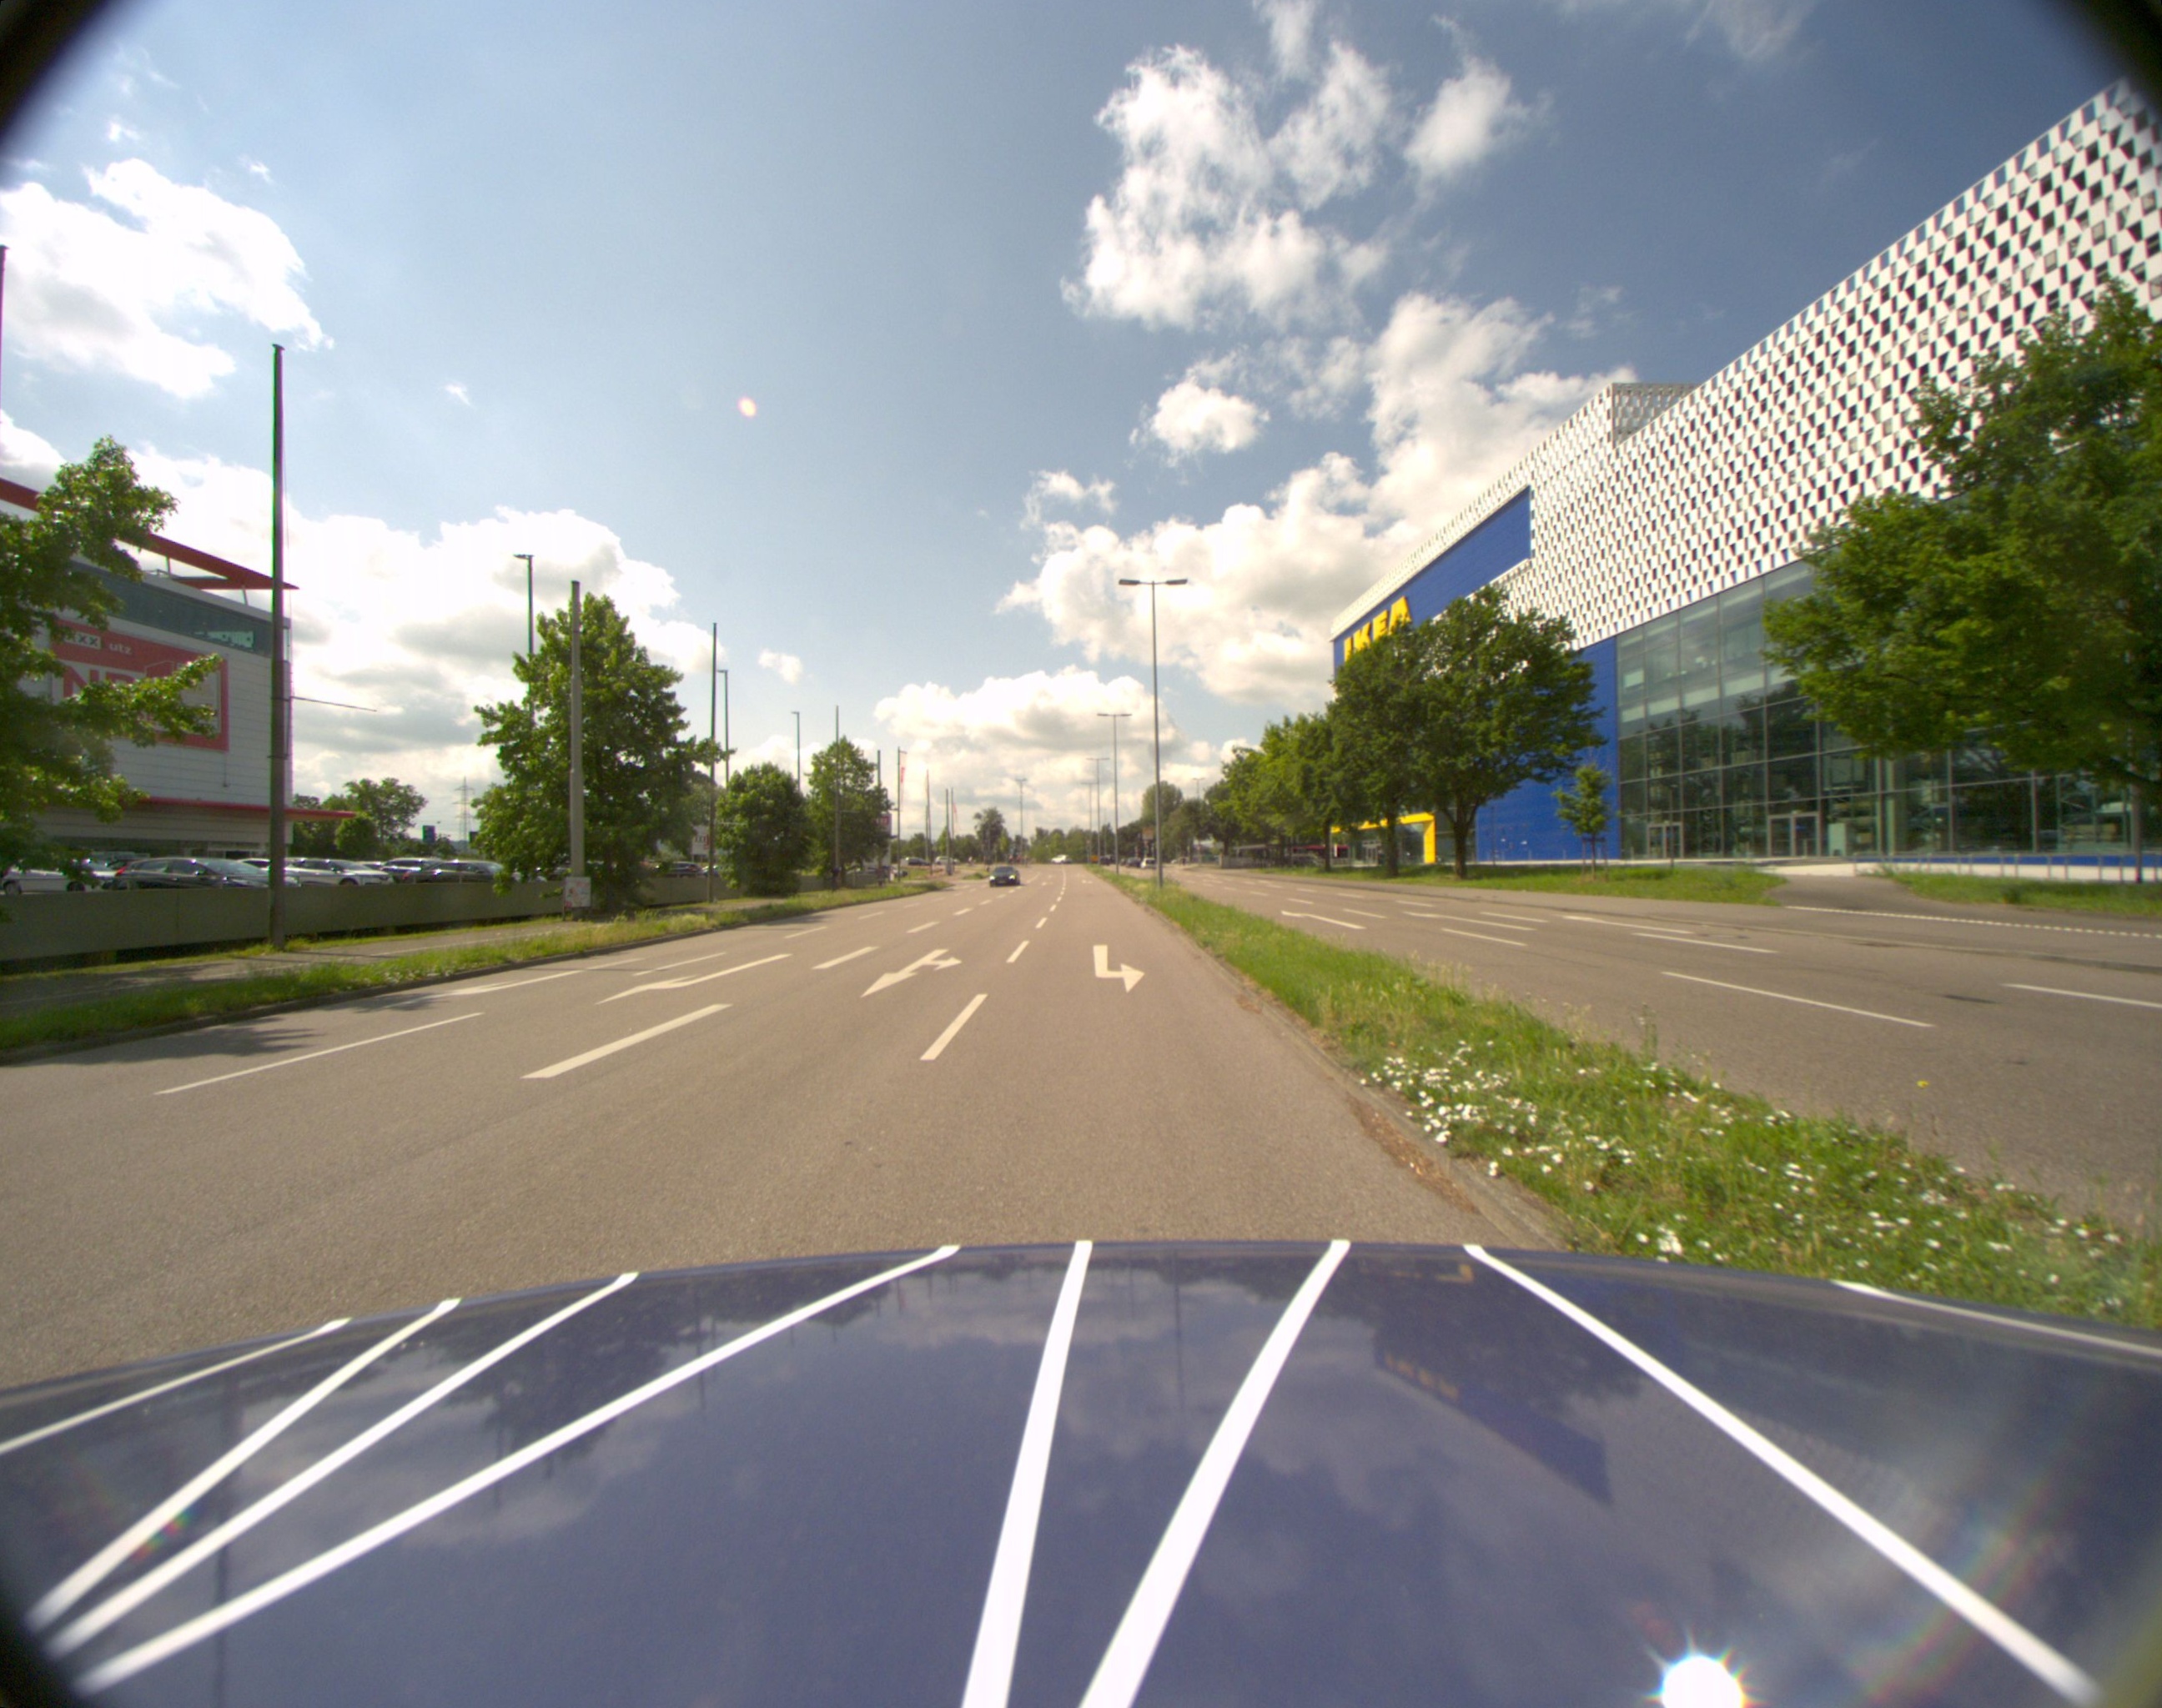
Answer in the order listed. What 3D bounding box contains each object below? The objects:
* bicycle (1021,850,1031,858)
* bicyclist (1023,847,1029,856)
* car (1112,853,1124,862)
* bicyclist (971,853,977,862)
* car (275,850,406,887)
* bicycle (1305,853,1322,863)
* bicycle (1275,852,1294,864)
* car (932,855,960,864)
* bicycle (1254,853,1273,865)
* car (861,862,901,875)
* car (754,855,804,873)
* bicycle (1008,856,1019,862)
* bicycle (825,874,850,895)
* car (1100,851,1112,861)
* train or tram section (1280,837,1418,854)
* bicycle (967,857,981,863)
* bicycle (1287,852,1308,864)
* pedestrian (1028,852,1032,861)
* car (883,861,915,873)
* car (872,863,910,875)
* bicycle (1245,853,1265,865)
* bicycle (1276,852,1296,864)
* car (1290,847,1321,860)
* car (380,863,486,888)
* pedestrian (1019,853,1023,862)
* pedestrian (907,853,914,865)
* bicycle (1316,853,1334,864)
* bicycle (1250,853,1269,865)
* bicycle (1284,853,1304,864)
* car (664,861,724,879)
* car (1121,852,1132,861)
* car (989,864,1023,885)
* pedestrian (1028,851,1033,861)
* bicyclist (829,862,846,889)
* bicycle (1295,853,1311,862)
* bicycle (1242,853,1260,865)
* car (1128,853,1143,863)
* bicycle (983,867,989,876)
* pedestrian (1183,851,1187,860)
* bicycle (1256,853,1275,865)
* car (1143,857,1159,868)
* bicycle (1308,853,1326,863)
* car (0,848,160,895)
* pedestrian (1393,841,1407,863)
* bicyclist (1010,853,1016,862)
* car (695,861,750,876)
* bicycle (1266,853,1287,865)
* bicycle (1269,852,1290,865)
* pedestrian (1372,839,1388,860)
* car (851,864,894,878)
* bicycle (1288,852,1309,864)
[{"bbox_3d":[-9.137,0.012,126.353,1.508,1.158,0.619,-1,-1,-44],"label":"bicycle"},{"bbox_3d":[-9.160,-0.470,126.352,0.698,1.526,0.619,-1,-1,-43],"label":"bicyclist"},{"bbox_3d":[6.670,0.647,137.775,1.775,1.606,3.998,1,1,-2],"label":"car"},{"bbox_3d":[-16.983,0.565,120.566,0.688,1.317,0.591,-1,0,-28],"label":"bicyclist"},{"bbox_3d":[-34.551,0.638,35.563,3.998,1.562,1.999,-2,0,-3],"label":"car"},{"bbox_3d":[28.067,0.489,91.810,1.935,1.083,0.520,-2,0,-5],"label":"bicycle"},{"bbox_3d":[22.401,0.487,83.532,1.930,1.265,0.629,-2,0,-1],"label":"bicycle"},{"bbox_3d":[-22.901,0.915,128.699,4.495,1.404,2.013,0,0,-4],"label":"car"},{"bbox_3d":[20.257,0.547,84.556,1.930,1.265,0.629,-2,0,-1],"label":"bicycle"},{"bbox_3d":[-24.374,1.792,92.660,4.370,1.408,1.856,-2,0,-1],"label":"car"},{"bbox_3d":[-28.268,0.914,71.213,4.026,1.578,1.695,-1,-1,-2],"label":"car"},{"bbox_3d":[-11.065,0.808,124.298,0.664,0.955,1.700,-2,-1,42],"label":"bicycle"},{"bbox_3d":[-12.489,1.553,38.997,0.625,1.061,1.968,0,0,0],"label":"bicycle"},{"bbox_3d":[4.031,0.324,123.376,1.608,1.485,4.131,1,1,-2],"label":"car"},{"bbox_3d":[51.145,-1.663,145.639,25.116,3.014,4.530,0,0,-2],"label":"train or tram section"},{"bbox_3d":[-16.990,0.975,120.553,1.990,0.955,0.596,-1,-1,-28],"label":"bicycle"},{"bbox_3d":[22.419,0.421,78.591,1.930,1.265,0.629,-2,0,-1],"label":"bicycle"},{"bbox_3d":[-8.312,0.417,123.496,0.556,1.515,0.470,-2,0,8],"label":"pedestrian"},{"bbox_3d":[-24.507,1.757,102.487,3.998,1.410,1.715,-1,1,-3],"label":"car"},{"bbox_3d":[-24.567,1.961,98.329,4.370,1.431,1.796,-1,0,0],"label":"car"},{"bbox_3d":[19.910,0.587,87.049,2.094,1.265,0.629,-2,0,-1],"label":"bicycle"},{"bbox_3d":[22.277,0.433,82.521,1.930,1.265,0.629,-2,0,-1],"label":"bicycle"},{"bbox_3d":[40.148,-0.093,135.821,4.821,2.001,1.999,-2,-1,-4],"label":"car"},{"bbox_3d":[-34.358,1.128,40.354,4.194,1.317,1.688,0,0,-1],"label":"car"},{"bbox_3d":[-9.666,0.578,122.475,0.585,1.515,0.469,-2,1,8],"label":"pedestrian"},{"bbox_3d":[-25.712,0.784,114.842,0.865,1.753,0.863,2,-3,-4],"label":"pedestrian"},{"bbox_3d":[28.326,0.568,88.213,1.950,1.236,0.597,-1,1,-5],"label":"bicycle"},{"bbox_3d":[20.143,0.551,85.843,1.930,1.265,0.629,-2,0,-1],"label":"bicycle"},{"bbox_3d":[22.366,0.482,79.740,1.930,1.172,0.629,-2,0,-1],"label":"bicycle"},{"bbox_3d":[-32.012,1.319,62.995,4.065,1.522,1.741,0,0,-4],"label":"car"},{"bbox_3d":[7.207,0.364,121.265,1.415,1.383,4.095,1,0,-1],"label":"car"},{"bbox_3d":[-5.173,1.418,52.881,1.797,1.311,4.163,-2,0,2],"label":"car"},{"bbox_3d":[-8.115,0.326,121.725,0.688,1.718,0.701,0,2,10],"label":"pedestrian"},{"bbox_3d":[-12.496,1.100,38.949,0.617,1.404,0.715,-1,0,0],"label":"bicyclist"},{"bbox_3d":[27.650,0.449,94.622,1.940,1.064,0.529,-1,1,-5],"label":"bicycle"},{"bbox_3d":[19.990,0.591,89.484,1.930,1.265,0.629,-2,0,-1],"label":"bicycle"},{"bbox_3d":[7.714,0.516,108.187,1.668,1.413,4.518,1,0,-1],"label":"car"},{"bbox_3d":[-9.737,1.789,77.884,0.518,0.947,1.543,-2,1,-1],"label":"bicycle"},{"bbox_3d":[17.004,0.302,124.656,0.439,1.481,0.619,-1,1,-18],"label":"pedestrian"},{"bbox_3d":[20.247,0.561,83.472,1.930,1.265,0.629,-2,0,-1],"label":"bicycle"},{"bbox_3d":[8.840,1.037,95.914,1.647,1.420,3.670,0,0,0],"label":"car"},{"bbox_3d":[28.146,0.487,90.719,1.940,1.064,0.529,-1,1,-5],"label":"bicycle"},{"bbox_3d":[-40.401,0.702,30.653,3.997,1.710,2.000,-2,-1,0],"label":"car"},{"bbox_3d":[26.880,-0.132,64.096,0.755,1.812,0.887,-2,1,-1],"label":"pedestrian"},{"bbox_3d":[-11.121,0.547,124.267,0.649,1.466,0.744,-2,-1,43],"label":"bicyclist"},{"bbox_3d":[-34.085,1.373,72.287,4.369,1.354,1.847,0,0,1],"label":"car"},{"bbox_3d":[20.233,0.536,78.590,1.930,1.176,0.629,-2,0,-1],"label":"bicycle"},{"bbox_3d":[20.244,0.434,77.496,1.930,1.265,0.629,-2,0,-1],"label":"bicycle"},{"bbox_3d":[25.120,-0.371,63.896,0.952,1.692,0.887,-2,0,-1],"label":"pedestrian"},{"bbox_3d":[-24.126,1.959,87.967,4.369,1.468,1.857,-2,0,1],"label":"car"},{"bbox_3d":[22.265,0.449,77.749,1.930,1.177,0.629,-2,0,-1],"label":"bicycle"}]
